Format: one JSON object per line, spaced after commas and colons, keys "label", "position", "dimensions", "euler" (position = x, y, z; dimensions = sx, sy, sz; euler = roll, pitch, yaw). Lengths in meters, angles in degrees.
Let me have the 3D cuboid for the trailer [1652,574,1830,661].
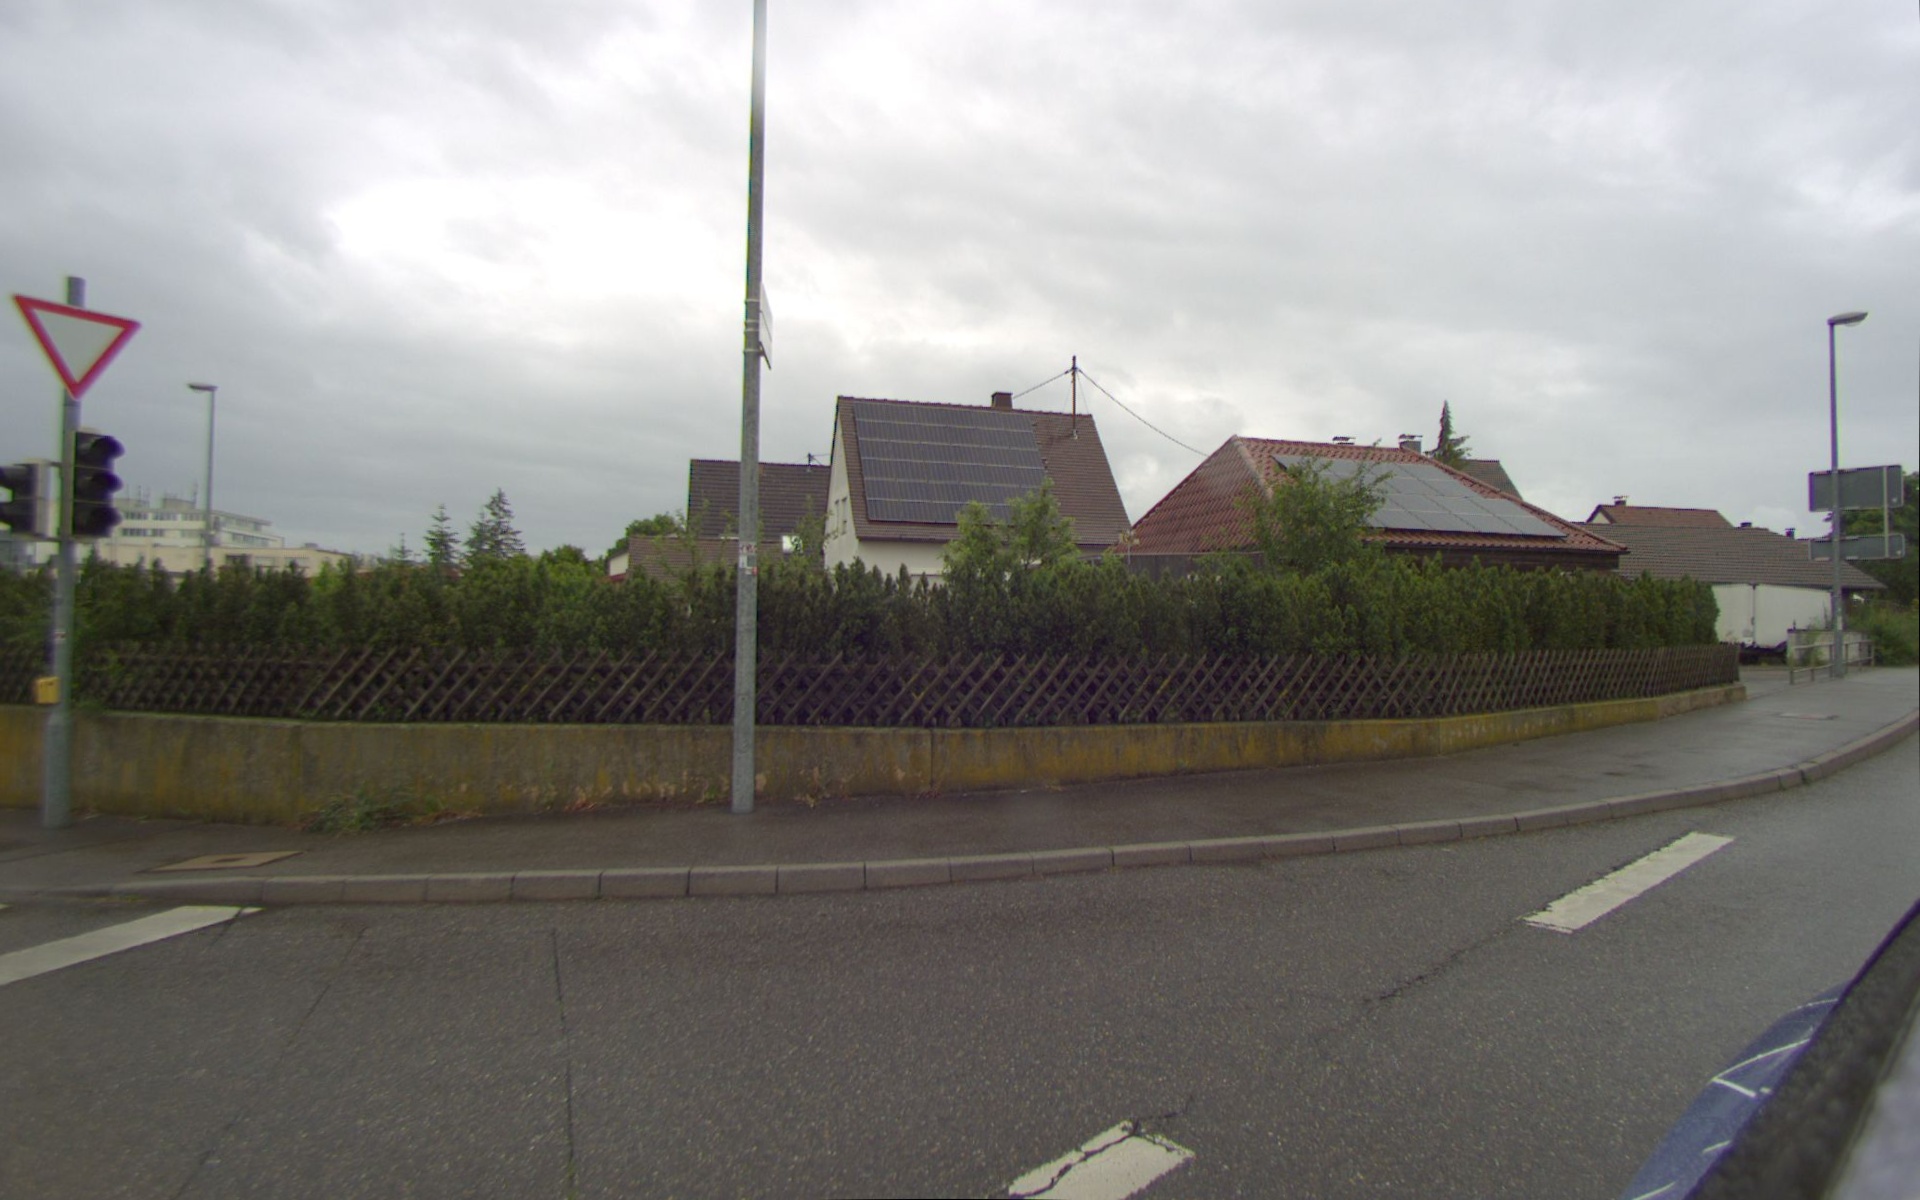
{"label": "trailer", "position": [23.713, 0.535, 30.768], "dimensions": [4.605, 2.550, 1.652], "euler": [0, -2, -13]}
